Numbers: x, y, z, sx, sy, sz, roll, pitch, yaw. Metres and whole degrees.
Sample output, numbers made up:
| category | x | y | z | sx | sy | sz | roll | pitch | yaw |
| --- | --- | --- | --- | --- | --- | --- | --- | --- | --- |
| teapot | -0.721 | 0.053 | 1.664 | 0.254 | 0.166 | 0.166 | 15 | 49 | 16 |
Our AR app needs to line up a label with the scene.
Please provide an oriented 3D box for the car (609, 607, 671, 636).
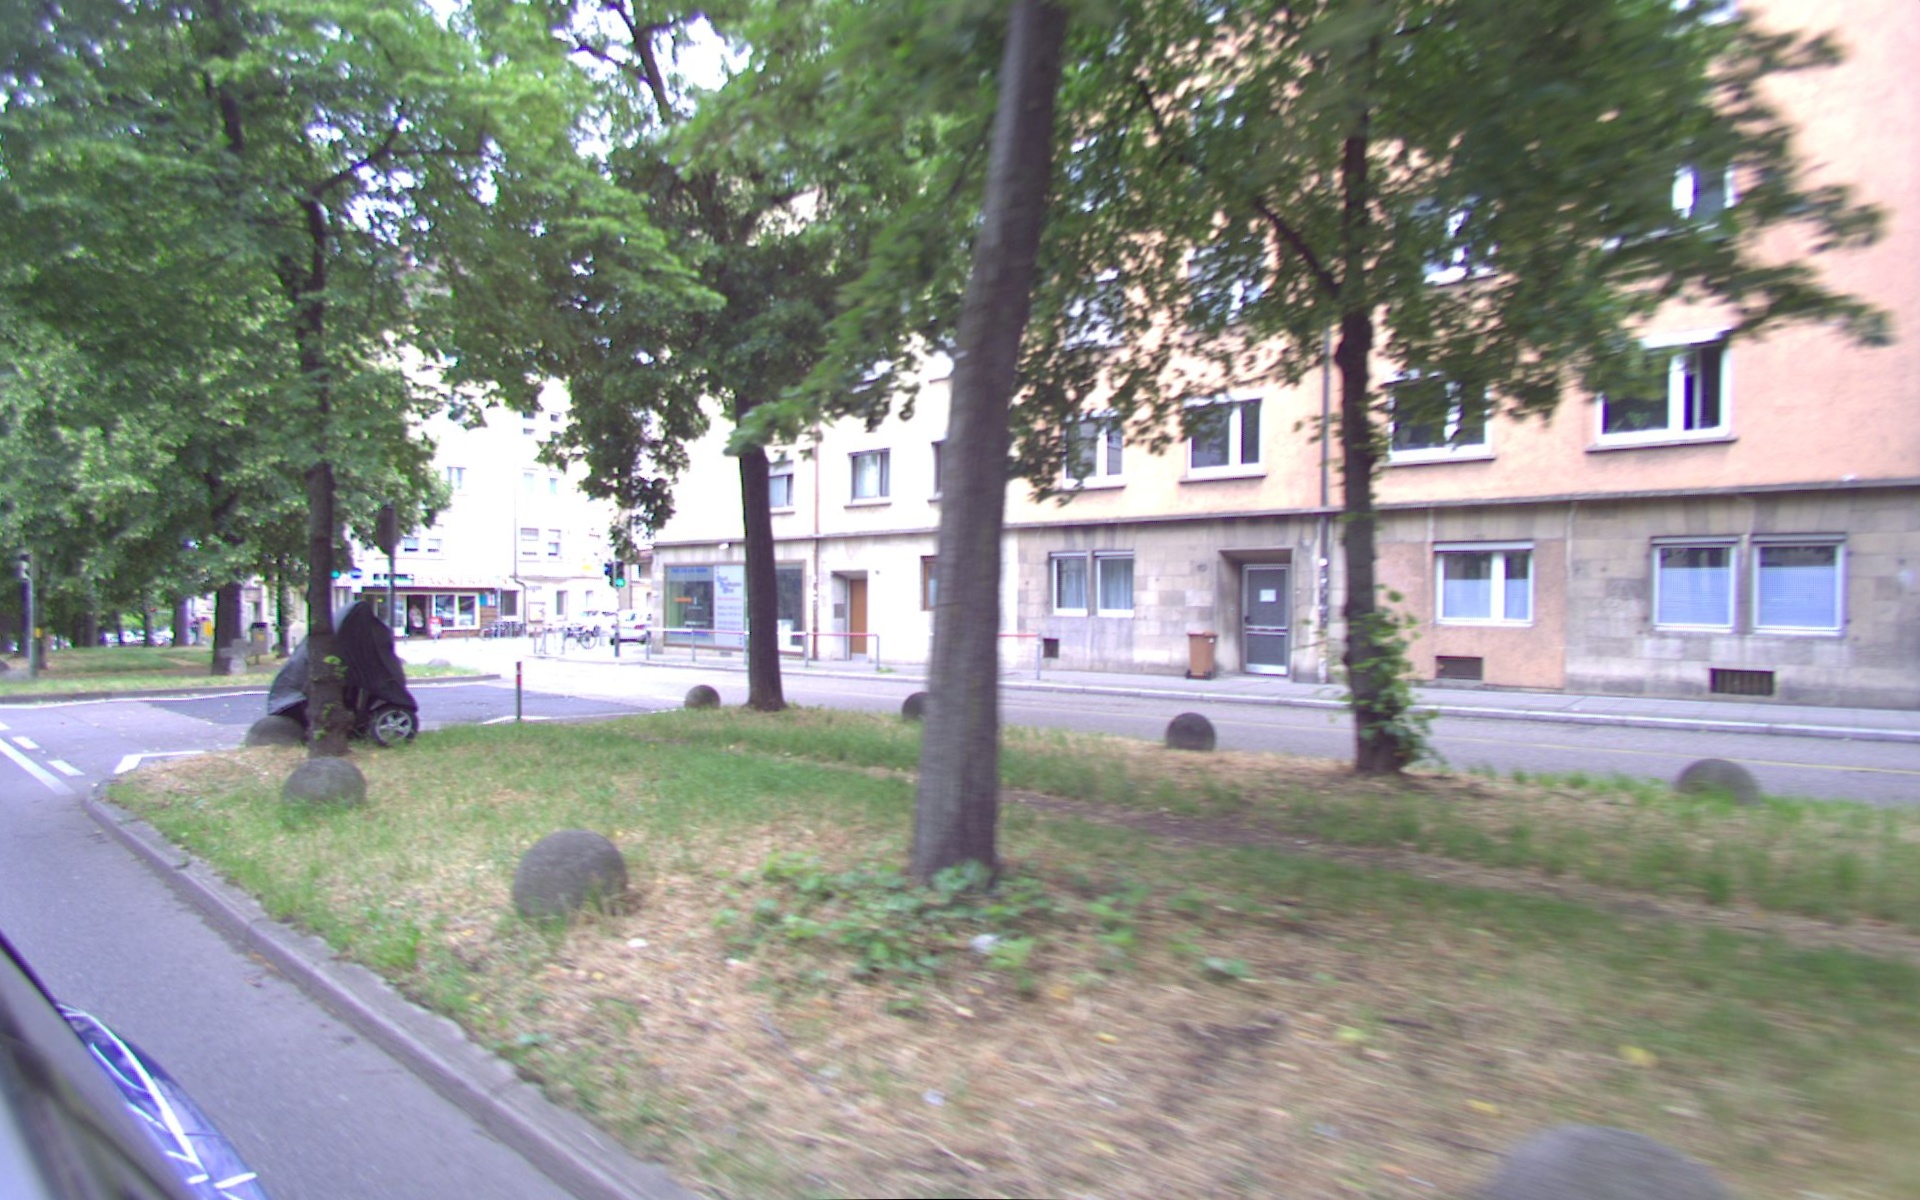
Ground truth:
| category | x | y | z | sx | sy | sz | roll | pitch | yaw |
| --- | --- | --- | --- | --- | --- | --- | --- | --- | --- |
| car | -18.397 | 1.236 | 58.309 | 1.846 | 1.553 | 3.498 | -1 | 0 | 14 |

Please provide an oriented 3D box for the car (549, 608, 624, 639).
| category | x | y | z | sx | sy | sz | roll | pitch | yaw |
| --- | --- | --- | --- | --- | --- | --- | --- | --- | --- |
| car | -19.737 | 1.207 | 53.654 | 1.964 | 1.553 | 3.790 | -1 | 0 | 14 |

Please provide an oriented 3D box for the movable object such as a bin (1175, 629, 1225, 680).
| category | x | y | z | sx | sy | sz | roll | pitch | yaw |
| --- | --- | --- | --- | --- | --- | --- | --- | --- | --- |
| movable object such as a bin | 4.592 | 1.036 | 19.380 | 0.779 | 0.934 | 0.507 | -2 | 0 | 42 |

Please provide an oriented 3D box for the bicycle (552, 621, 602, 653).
| category | x | y | z | sx | sy | sz | roll | pitch | yaw |
| --- | --- | --- | --- | --- | --- | --- | --- | --- | --- |
| bicycle | -15.100 | 1.473 | 39.868 | 2.050 | 1.158 | 0.677 | -3 | 0 | 30 |

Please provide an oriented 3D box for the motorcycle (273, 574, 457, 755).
| category | x | y | z | sx | sy | sz | roll | pitch | yaw |
| --- | --- | --- | --- | --- | --- | --- | --- | --- | --- |
| motorcycle | -5.816 | 0.634 | 9.810 | 2.623 | 1.542 | 0.814 | -5 | -5 | 43 |

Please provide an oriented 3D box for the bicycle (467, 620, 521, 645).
| category | x | y | z | sx | sy | sz | roll | pitch | yaw |
| --- | --- | --- | --- | --- | --- | --- | --- | --- | --- |
| bicycle | -22.719 | 1.585 | 49.332 | 2.310 | 1.108 | 0.777 | -2 | 0 | -29 |

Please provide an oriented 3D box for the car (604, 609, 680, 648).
| category | x | y | z | sx | sy | sz | roll | pitch | yaw |
| --- | --- | --- | --- | --- | --- | --- | --- | --- | --- |
| car | -14.023 | 1.249 | 44.801 | 1.671 | 1.553 | 3.628 | -3 | -1 | 11 |
